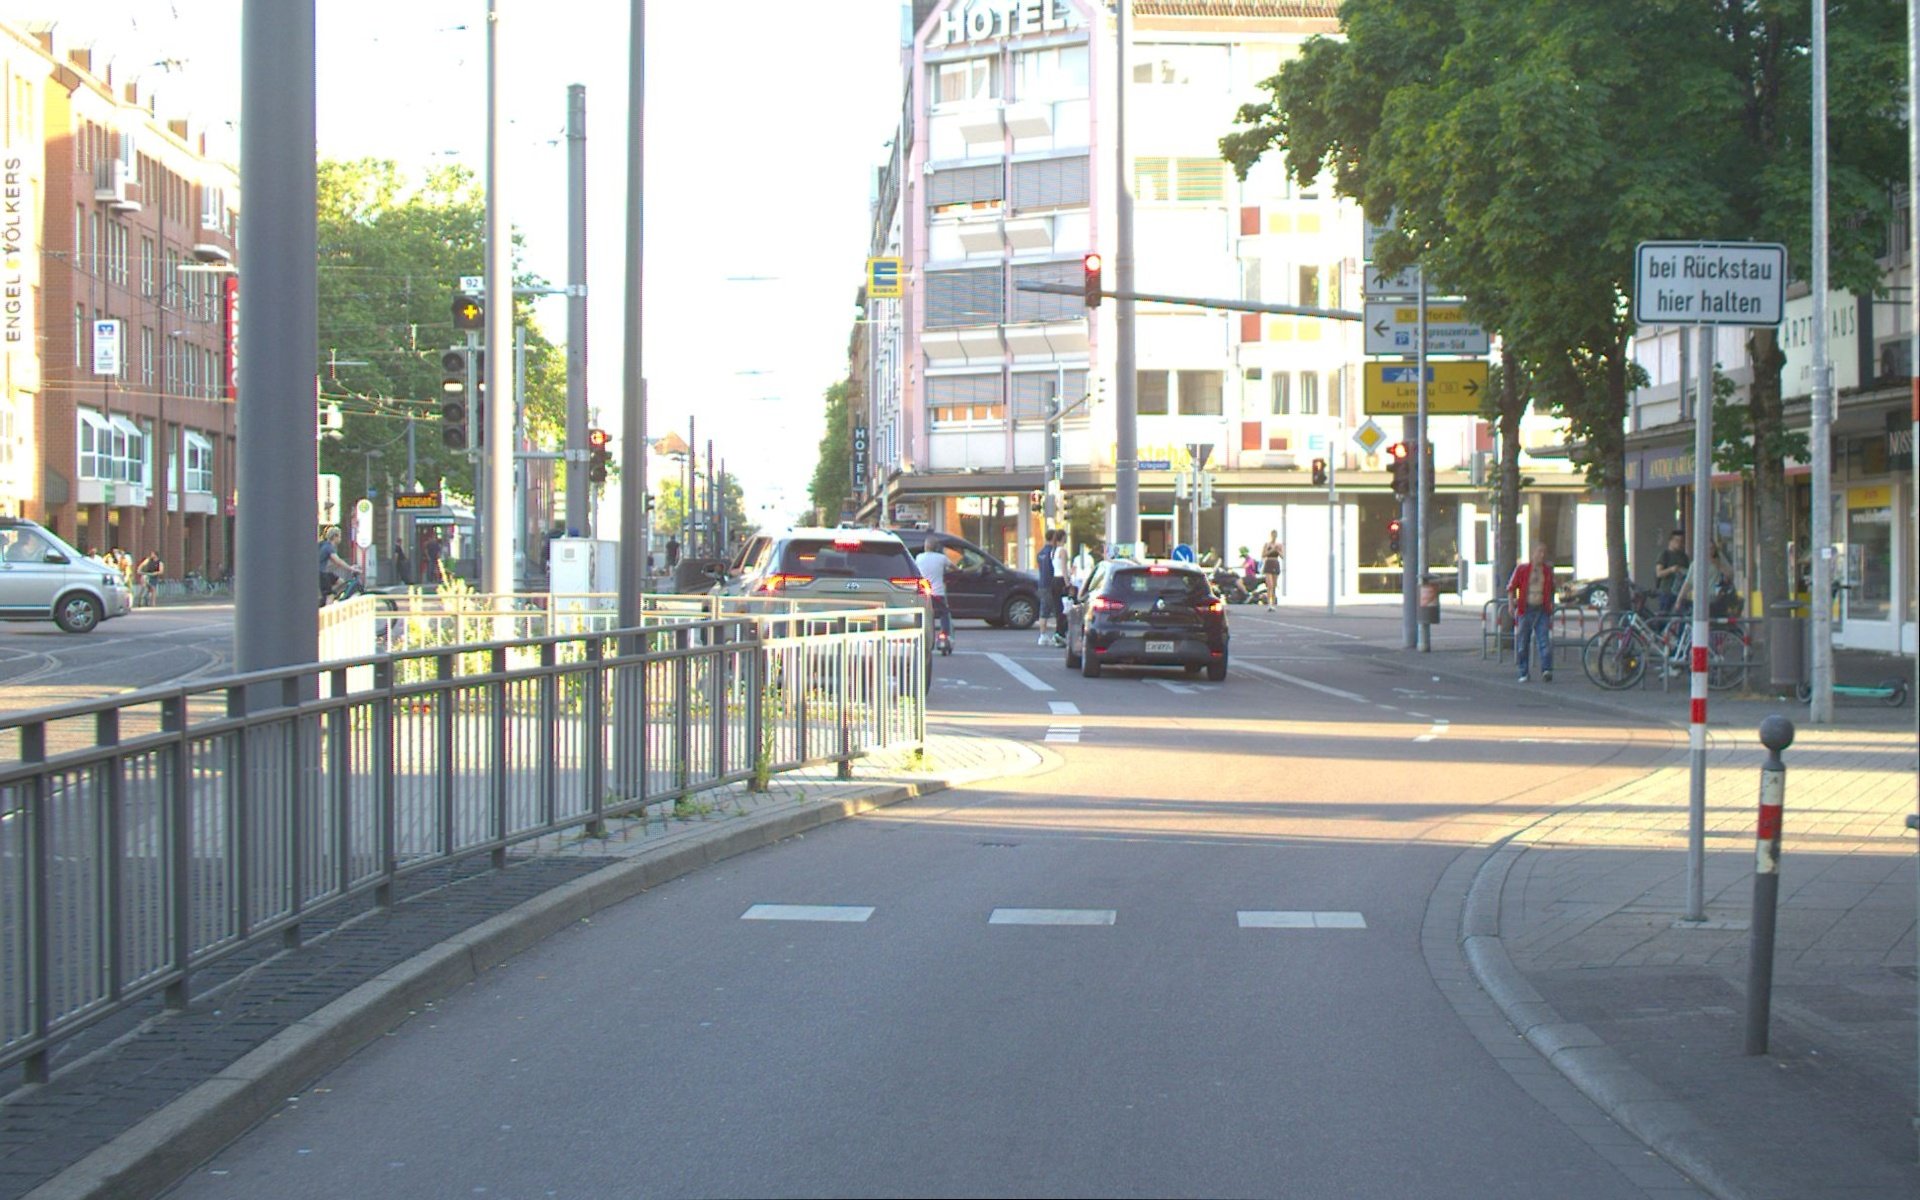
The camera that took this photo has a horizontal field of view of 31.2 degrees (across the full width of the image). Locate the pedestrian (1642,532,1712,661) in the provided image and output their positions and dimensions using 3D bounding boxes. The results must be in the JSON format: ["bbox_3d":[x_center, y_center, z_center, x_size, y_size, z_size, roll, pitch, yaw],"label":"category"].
[{"bbox_3d":[10.004,-0.049,47.966,0.746,1.772,0.800,2,0,-1],"label":"pedestrian"}]

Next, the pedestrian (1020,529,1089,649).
[{"bbox_3d":[1.470,-0.176,53.509,0.994,1.824,0.729,2,0,-1],"label":"pedestrian"}]

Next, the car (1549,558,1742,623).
[{"bbox_3d":[18.030,-0.248,90.543,4.551,1.615,1.998,1,0,-5],"label":"car"}]

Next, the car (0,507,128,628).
[{"bbox_3d":[-16.412,-0.551,57.615,4.682,2.007,2.001,0,1,-17],"label":"car"}]

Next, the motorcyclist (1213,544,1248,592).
[{"bbox_3d":[6.965,-0.823,88.437,0.703,1.216,0.789,2,0,-8],"label":"motorcyclist"}]

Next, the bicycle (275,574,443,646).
[{"bbox_3d":[-9.767,0.164,55.908,2.639,1.096,0.435,2,0,-22],"label":"bicycle"}]

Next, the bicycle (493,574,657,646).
[{"bbox_3d":[-6.327,0.160,56.499,2.639,1.096,0.435,2,0,-8],"label":"bicycle"}]

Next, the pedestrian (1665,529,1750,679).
[{"bbox_3d":[8.995,0.045,41.393,0.746,1.772,0.973,2,0,-1],"label":"pedestrian"}]

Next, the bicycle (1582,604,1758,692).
[{"bbox_3d":[7.731,0.519,37.456,1.818,0.888,0.415,2,0,5],"label":"bicycle"}]

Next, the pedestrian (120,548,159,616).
[{"bbox_3d":[-24.926,-0.545,104.466,0.976,2.007,0.909,2,0,-5],"label":"pedestrian"}]

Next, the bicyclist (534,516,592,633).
[{"bbox_3d":[-6.519,-0.418,56.446,0.860,1.871,0.647,2,0,-9],"label":"bicyclist"}]

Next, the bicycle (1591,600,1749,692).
[{"bbox_3d":[7.929,0.506,38.415,1.658,0.971,0.386,2,0,5],"label":"bicycle"}]

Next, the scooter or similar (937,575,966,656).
[{"bbox_3d":[-0.116,0.206,47.172,0.279,1.087,1.257,2,0,4],"label":"scooter or similar"}]

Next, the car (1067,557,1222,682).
[{"bbox_3d":[2.223,0.200,42.265,1.764,1.435,4.000,0,1,1],"label":"car"}]

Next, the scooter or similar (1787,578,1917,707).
[{"bbox_3d":[8.540,0.410,32.932,1.220,1.213,0.294,-1,-2,44],"label":"scooter or similar"}]

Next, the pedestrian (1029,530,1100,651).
[{"bbox_3d":[1.595,-0.147,52.682,0.994,1.824,0.729,2,0,-2],"label":"pedestrian"}]

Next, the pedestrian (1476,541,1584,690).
[{"bbox_3d":[6.575,0.176,39.696,0.823,1.679,1.049,2,0,-14],"label":"pedestrian"}]

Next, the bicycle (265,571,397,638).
[{"bbox_3d":[-10.069,0.072,55.070,2.036,1.024,0.417,1,0,-8],"label":"bicycle"}]

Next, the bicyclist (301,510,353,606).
[{"bbox_3d":[-10.138,-0.671,55.035,0.704,1.506,0.550,-2,1,-19],"label":"bicyclist"}]

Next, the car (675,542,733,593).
[{"bbox_3d":[-9.087,-1.140,122.247,1.811,1.740,3.715,2,0,-1],"label":"car"}]

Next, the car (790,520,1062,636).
[{"bbox_3d":[-0.630,-0.415,62.032,4.558,2.030,2.001,-1,1,-14],"label":"car"}]

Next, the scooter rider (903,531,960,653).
[{"bbox_3d":[-0.388,-0.105,47.044,0.662,1.641,0.661,2,0,6],"label":"scooter rider"}]

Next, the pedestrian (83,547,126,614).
[{"bbox_3d":[-26.216,-0.591,105.394,1.093,2.007,0.909,2,0,-5],"label":"pedestrian"}]

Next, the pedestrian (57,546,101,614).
[{"bbox_3d":[-26.515,-0.595,103.463,1.093,2.007,0.909,2,0,-5],"label":"pedestrian"}]

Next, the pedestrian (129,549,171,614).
[{"bbox_3d":[-25.671,-0.580,109.010,1.093,2.007,1.163,2,0,-5],"label":"pedestrian"}]

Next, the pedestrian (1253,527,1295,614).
[{"bbox_3d":[6.524,-0.614,71.442,0.746,1.772,0.800,2,0,0],"label":"pedestrian"}]

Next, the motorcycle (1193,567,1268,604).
[{"bbox_3d":[6.956,-0.379,88.421,1.833,0.905,0.432,2,0,-7],"label":"motorcycle"}]

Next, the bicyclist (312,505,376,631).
[{"bbox_3d":[-9.997,-0.514,55.799,0.860,2.007,0.647,2,0,-22],"label":"bicyclist"}]

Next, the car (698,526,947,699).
[{"bbox_3d":[-1.449,0.091,34.660,1.834,1.630,4.092,1,1,-12],"label":"car"}]

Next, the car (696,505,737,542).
[{"bbox_3d":[-13.335,-4.165,188.577,1.993,1.894,4.000,2,0,-2],"label":"car"}]
